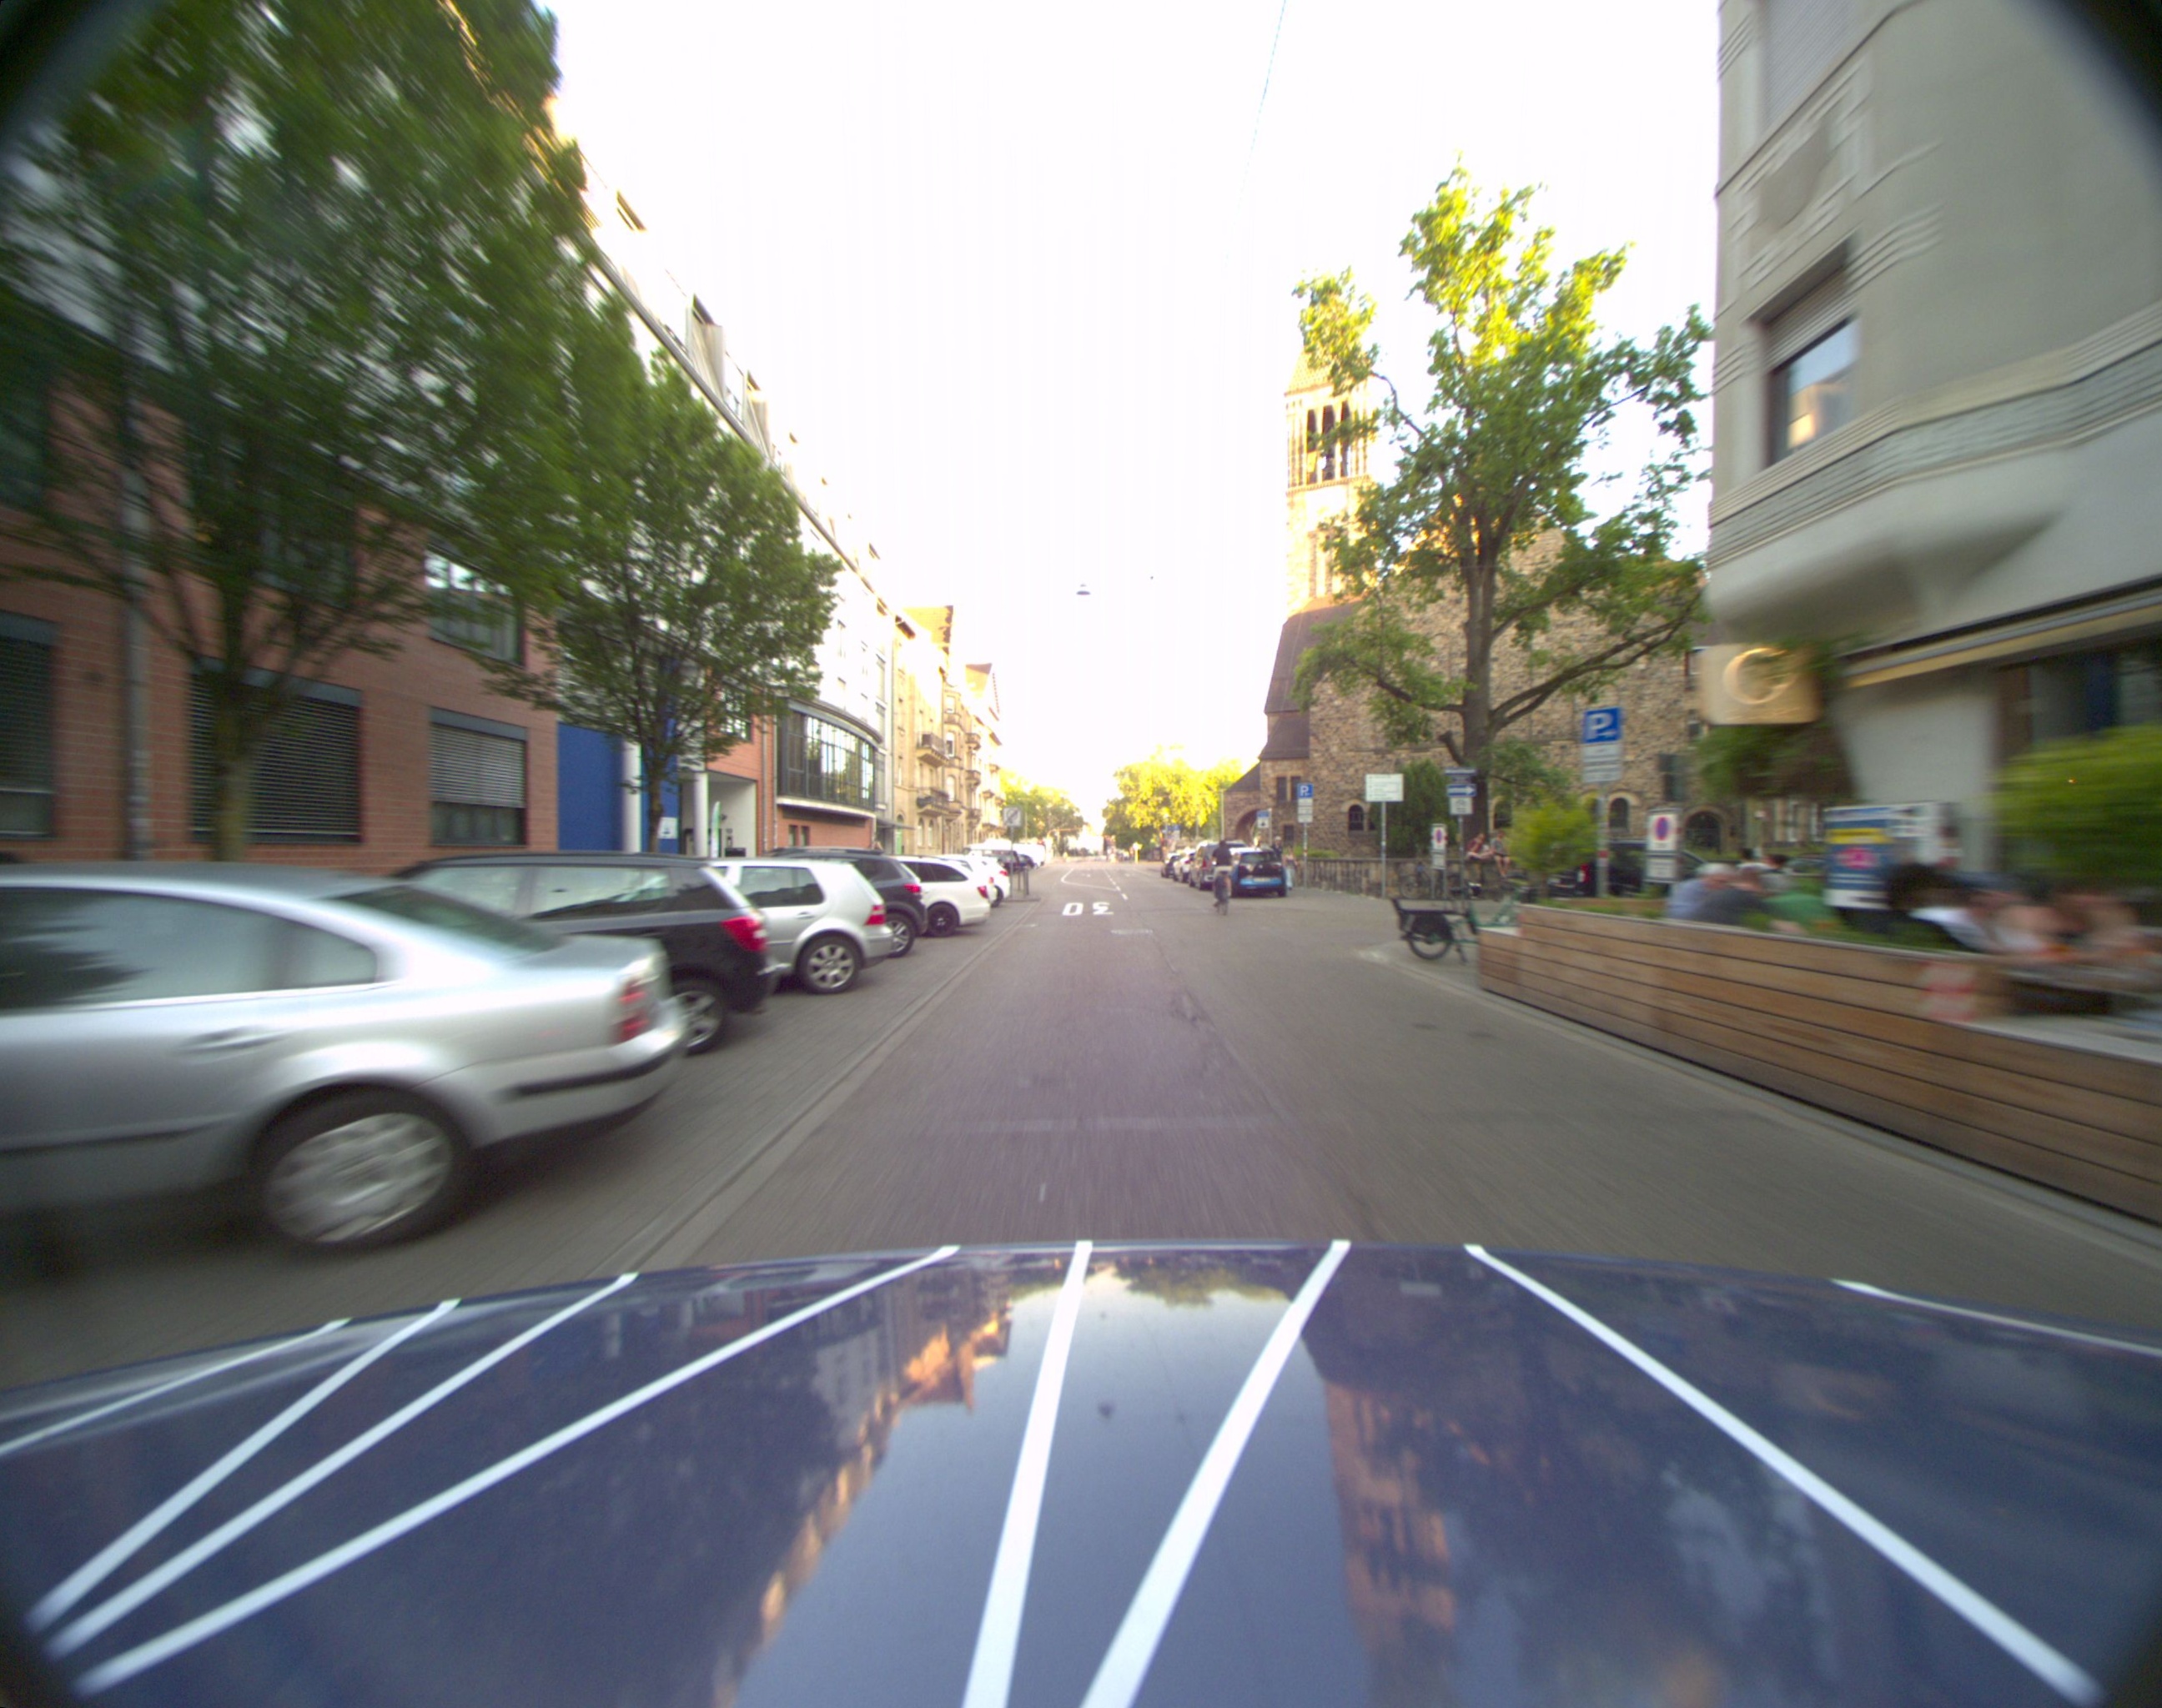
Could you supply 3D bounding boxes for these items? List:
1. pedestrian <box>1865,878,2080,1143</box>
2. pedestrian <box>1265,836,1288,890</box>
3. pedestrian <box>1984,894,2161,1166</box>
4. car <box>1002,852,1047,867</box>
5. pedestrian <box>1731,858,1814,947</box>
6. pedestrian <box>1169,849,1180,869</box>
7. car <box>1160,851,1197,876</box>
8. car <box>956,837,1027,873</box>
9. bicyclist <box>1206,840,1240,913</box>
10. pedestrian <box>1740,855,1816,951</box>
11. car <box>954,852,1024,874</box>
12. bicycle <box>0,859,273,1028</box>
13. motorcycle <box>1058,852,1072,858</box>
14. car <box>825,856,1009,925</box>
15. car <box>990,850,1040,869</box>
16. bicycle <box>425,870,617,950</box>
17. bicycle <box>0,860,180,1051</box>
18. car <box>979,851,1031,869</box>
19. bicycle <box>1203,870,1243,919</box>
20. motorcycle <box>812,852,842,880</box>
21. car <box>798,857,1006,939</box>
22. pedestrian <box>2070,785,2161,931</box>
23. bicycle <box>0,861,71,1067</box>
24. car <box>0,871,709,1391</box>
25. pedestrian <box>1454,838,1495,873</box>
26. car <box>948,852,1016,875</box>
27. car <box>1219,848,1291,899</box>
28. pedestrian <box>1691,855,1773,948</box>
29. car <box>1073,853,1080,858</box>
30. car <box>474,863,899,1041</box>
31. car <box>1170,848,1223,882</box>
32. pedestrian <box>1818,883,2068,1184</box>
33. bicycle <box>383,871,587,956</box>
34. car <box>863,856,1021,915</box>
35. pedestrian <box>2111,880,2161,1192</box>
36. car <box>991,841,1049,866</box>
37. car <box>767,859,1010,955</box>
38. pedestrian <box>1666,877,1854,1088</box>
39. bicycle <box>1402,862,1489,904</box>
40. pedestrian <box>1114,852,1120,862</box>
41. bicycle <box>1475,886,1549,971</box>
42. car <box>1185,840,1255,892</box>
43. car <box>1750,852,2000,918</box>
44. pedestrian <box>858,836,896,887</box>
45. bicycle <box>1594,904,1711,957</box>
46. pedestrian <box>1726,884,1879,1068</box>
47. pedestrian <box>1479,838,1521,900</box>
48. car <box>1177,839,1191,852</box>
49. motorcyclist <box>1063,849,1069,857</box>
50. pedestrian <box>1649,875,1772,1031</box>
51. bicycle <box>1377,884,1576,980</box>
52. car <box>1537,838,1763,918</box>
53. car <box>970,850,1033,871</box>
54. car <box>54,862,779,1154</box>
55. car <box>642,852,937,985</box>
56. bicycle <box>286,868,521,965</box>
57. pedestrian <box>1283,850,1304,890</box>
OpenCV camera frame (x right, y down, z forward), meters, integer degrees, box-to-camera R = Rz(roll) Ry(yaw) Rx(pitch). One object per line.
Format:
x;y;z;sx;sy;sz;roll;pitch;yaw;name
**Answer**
4.914;0.819;4.225;0.469;1.342;0.611;-1;1;0;pedestrian
6.928;0.317;26.934;0.583;1.894;0.803;0;1;-2;pedestrian
5.555;0.913;4.167;0.469;1.342;0.611;-1;1;0;pedestrian
-5.825;0.529;78.406;4.263;1.445;1.994;1;1;-38;car
11.833;0.810;13.027;0.703;1.461;0.783;0;1;0;pedestrian
8.106;0.457;65.853;0.716;1.715;0.691;0;1;-9;pedestrian
5.754;0.547;45.252;1.787;1.427;4.316;0;0;2;car
-6.506;0.027;55.204;4.733;2.532;1.913;-1;1;-28;car
3.351;0.510;18.003;0.604;1.675;1.142;0;1;1;bicyclist
10.970;0.753;11.976;0.573;1.461;0.644;0;1;-1;pedestrian
-6.374;0.595;52.686;4.363;1.494;1.909;0;1;-27;car
-8.523;0.732;6.563;2.540;1.371;0.599;0;1;3;bicycle
-2.793;0.196;133.546;2.288;0.917;0.621;0;0;-25;motorcycle
-3.991;0.807;18.646;4.007;1.464;1.870;0;2;-32;car
-5.991;0.476;69.323;4.107;1.598;1.811;2;1;-37;car
-8.406;0.830;11.438;2.540;1.160;0.562;0;1;3;bicycle
-8.508;0.737;5.848;2.540;1.371;0.599;0;1;3;bicycle
-6.613;0.531;66.262;4.066;1.489;1.749;2;1;-34;car
3.353;0.929;18.028;0.616;1.034;1.904;0;0;1;bicycle
-10.727;0.494;32.155;0.590;1.097;2.083;3;0;-2;motorcycle
-3.791;0.847;16.212;4.006;1.514;1.705;0;2;-30;car
8.798;0.025;6.171;0.558;1.147;0.748;-1;1;0;pedestrian
-8.499;0.740;5.185;2.540;1.371;0.599;0;1;3;bicycle
-3.948;0.877;2.997;4.393;1.525;1.803;0;1;-28;car
11.081;0.043;21.396;0.708;0.975;0.837;0;1;-1;pedestrian
-6.540;0.602;50.189;4.076;1.483;1.719;0;1;-30;car
5.607;0.583;24.958;1.644;1.546;4.005;0;0;3;car
11.054;0.790;12.926;0.703;1.531;0.783;0;1;0;pedestrian
-1.262;0.415;210.609;1.794;1.571;4.001;0;0;4;car
-3.939;0.856;8.065;3.611;1.473;1.719;0;1;-27;car
5.616;0.484;37.307;1.876;1.582;4.468;0;0;-1;car
4.262;0.835;3.806;0.485;1.342;0.669;-1;1;0;pedestrian
-8.453;0.823;10.813;2.540;1.160;0.562;0;1;3;bicycle
-3.865;0.821;21.259;4.006;1.498;1.766;0;1;-28;car
4.928;0.788;3.174;0.518;1.342;0.540;-1;1;-2;pedestrian
-6.498;-0.070;81.128;5.897;2.537;2.189;1;2;-40;car
-3.461;0.856;13.850;4.006;1.528;1.632;0;0;-30;car
4.639;0.834;5.245;0.610;1.317;0.770;-1;1;0;pedestrian
10.081;0.797;21.047;2.144;1.127;0.555;0;1;2;bicycle
6.118;0.526;128.951;0.745;1.619;0.660;0;1;18;pedestrian
5.759;0.952;10.227;0.424;1.006;1.720;-1;-1;15;bicycle
5.420;0.423;30.257;1.998;1.855;5.290;0;0;2;car
18.952;0.712;18.276;4.210;1.491;1.721;0;1;0;car
-8.512;0.310;31.771;0.608;2.002;0.857;23;2;2;pedestrian
8.855;1.166;11.861;0.424;0.691;1.779;0;-2;-2;bicycle
5.619;0.916;5.957;0.538;1.317;0.705;-1;1;1;pedestrian
11.806;0.422;21.421;0.708;1.711;0.837;0;1;-1;pedestrian
17.331;-1.423;128.109;1.865;2.002;3.815;0;0;16;car
-2.684;-0.143;133.590;0.830;1.511;0.621;0;1;-24;motorcyclist
5.667;0.863;6.874;0.538;1.317;0.705;-1;1;1;pedestrian
4.804;0.920;9.361;2.111;1.088;0.502;-1;-1;26;bicycle
13.686;0.545;18.494;3.995;1.833;1.891;0;1;4;car
-6.054;0.509;58.131;4.406;1.478;1.839;2;0;-30;car
-4.237;0.845;5.592;3.611;1.525;1.559;0;1;-27;car
-4.049;0.757;10.685;3.612;1.571;1.712;0;1;-32;car
-8.501;0.763;9.569;2.540;1.160;0.562;0;1;3;bicycle
7.560;0.553;27.022;0.533;1.397;0.659;-2;1;1;pedestrian
